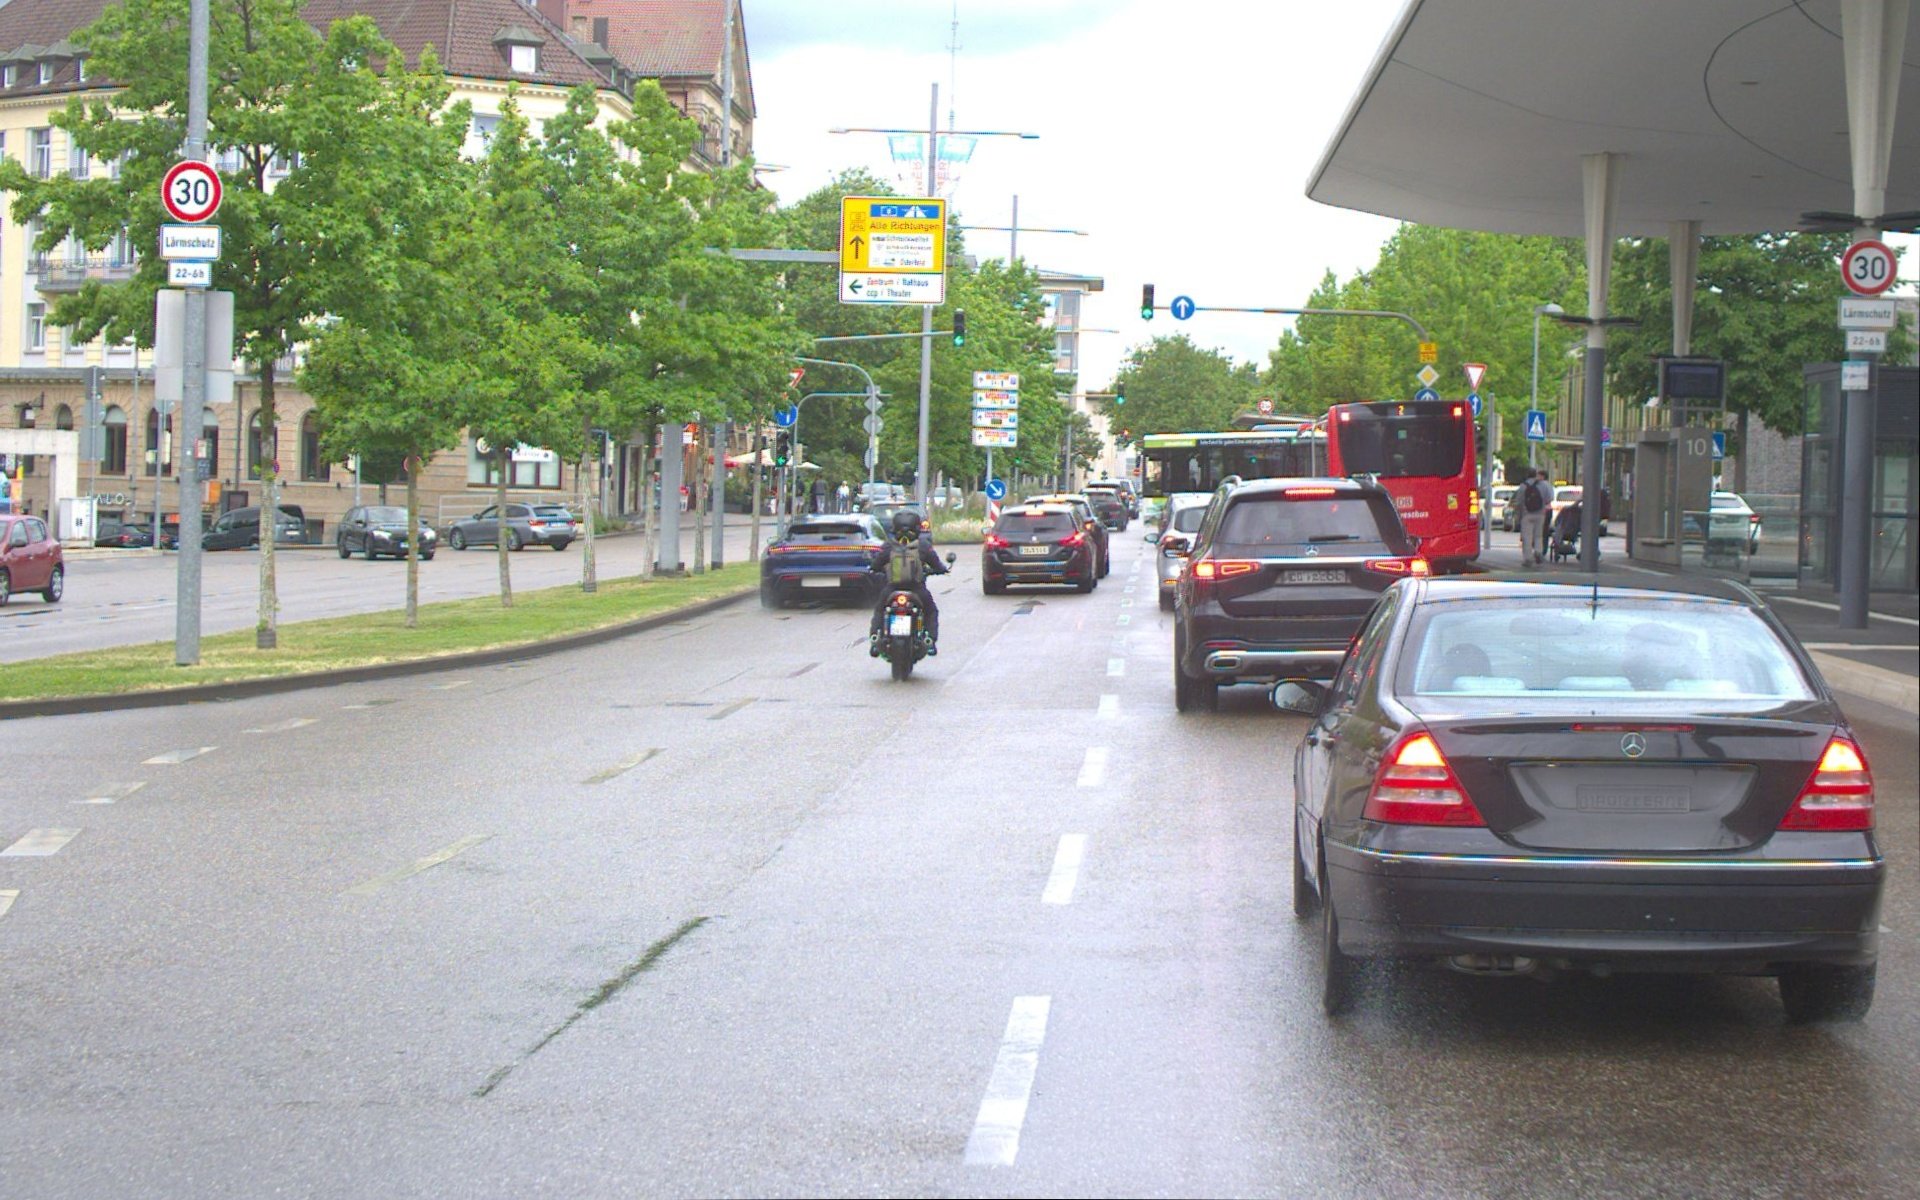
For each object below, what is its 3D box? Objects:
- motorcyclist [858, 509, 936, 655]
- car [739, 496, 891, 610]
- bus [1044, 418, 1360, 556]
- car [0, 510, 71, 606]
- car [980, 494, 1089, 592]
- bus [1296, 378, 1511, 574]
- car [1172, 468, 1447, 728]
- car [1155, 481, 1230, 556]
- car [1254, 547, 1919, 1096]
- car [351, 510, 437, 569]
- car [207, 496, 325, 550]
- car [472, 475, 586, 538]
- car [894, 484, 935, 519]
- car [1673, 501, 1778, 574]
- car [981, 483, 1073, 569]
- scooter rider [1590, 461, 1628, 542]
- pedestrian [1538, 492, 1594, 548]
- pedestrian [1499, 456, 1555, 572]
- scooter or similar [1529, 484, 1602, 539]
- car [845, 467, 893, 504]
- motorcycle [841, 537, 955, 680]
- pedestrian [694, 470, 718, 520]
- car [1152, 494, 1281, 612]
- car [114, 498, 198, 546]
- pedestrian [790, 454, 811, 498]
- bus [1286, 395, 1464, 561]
[{"bbox_3d":[-0.586,-0.171,32.100,0.641,1.342,0.688,0,2,7],"label":"motorcyclist"},{"bbox_3d":[-2.133,-0.742,51.647,1.816,1.565,4.404,-1,2,3],"label":"car"},{"bbox_3d":[7.186,-3.422,104.665,2.838,3.974,11.863,-1,2,-34],"label":"bus"},{"bbox_3d":[-16.265,-0.714,56.802,1.823,1.546,4.032,0,2,4],"label":"car"},{"bbox_3d":[1.262,-0.962,56.688,1.576,1.499,3.871,-1,2,4],"label":"car"},{"bbox_3d":[7.983,-2.263,63.257,3.287,3.280,10.877,0,2,4],"label":"bus"},{"bbox_3d":[2.727,-0.099,27.785,1.957,1.869,4.873,-1,2,3],"label":"car"},{"bbox_3d":[5.117,-1.821,75.880,1.576,1.561,3.871,-1,2,3],"label":"car"},{"bbox_3d":[1.977,0.596,11.857,1.698,1.457,4.304,0,2,2],"label":"car"},{"bbox_3d":[-15.130,-1.635,91.787,1.680,1.522,4.641,0,2,-17],"label":"car"},{"bbox_3d":[-23.539,-2.617,116.510,2.113,1.770,4.391,-2,2,-39],"label":"car"},{"bbox_3d":[-12.796,-2.775,101.878,1.865,1.678,4.001,4,-1,-29],"label":"car"},{"bbox_3d":[-2.078,-4.535,157.986,1.576,1.561,3.430,-1,2,3],"label":"car"},{"bbox_3d":[18.477,-1.545,83.141,1.712,1.656,4.240,2,2,2],"label":"car"},{"bbox_3d":[1.299,-1.440,65.745,1.576,1.561,3.871,-1,2,3],"label":"car"},{"bbox_3d":[12.122,-1.838,64.192,0.592,1.484,0.764,1,1,17],"label":"scooter rider"},{"bbox_3d":[11.391,-1.500,64.610,0.914,0.981,0.633,2,-2,17],"label":"pedestrian"},{"bbox_3d":[10.105,-1.535,61.238,0.778,2.006,0.781,4,3,16],"label":"pedestrian"},{"bbox_3d":[11.351,-1.661,64.436,1.244,1.009,0.763,1,1,17],"label":"scooter or similar"},{"bbox_3d":[-4.016,-5.051,151.835,1.780,1.561,3.430,-1,2,3],"label":"car"},{"bbox_3d":[-0.566,0.062,32.109,0.793,1.258,1.855,-1,2,7],"label":"motorcycle"},{"bbox_3d":[-10.289,-4.258,139.430,0.724,2.006,0.826,-1,2,-23],"label":"pedestrian"},{"bbox_3d":[3.652,-0.707,49.371,1.741,1.561,3.871,-1,2,3],"label":"car"},{"bbox_3d":[-28.160,-2.739,120.399,1.658,1.599,3.252,-4,4,-36],"label":"car"},{"bbox_3d":[-7.219,-5.606,155.399,0.724,1.959,0.826,-1,2,-23],"label":"pedestrian"},{"bbox_3d":[8.630,-2.565,72.436,3.291,3.277,8.849,0,2,4],"label":"bus"}]
